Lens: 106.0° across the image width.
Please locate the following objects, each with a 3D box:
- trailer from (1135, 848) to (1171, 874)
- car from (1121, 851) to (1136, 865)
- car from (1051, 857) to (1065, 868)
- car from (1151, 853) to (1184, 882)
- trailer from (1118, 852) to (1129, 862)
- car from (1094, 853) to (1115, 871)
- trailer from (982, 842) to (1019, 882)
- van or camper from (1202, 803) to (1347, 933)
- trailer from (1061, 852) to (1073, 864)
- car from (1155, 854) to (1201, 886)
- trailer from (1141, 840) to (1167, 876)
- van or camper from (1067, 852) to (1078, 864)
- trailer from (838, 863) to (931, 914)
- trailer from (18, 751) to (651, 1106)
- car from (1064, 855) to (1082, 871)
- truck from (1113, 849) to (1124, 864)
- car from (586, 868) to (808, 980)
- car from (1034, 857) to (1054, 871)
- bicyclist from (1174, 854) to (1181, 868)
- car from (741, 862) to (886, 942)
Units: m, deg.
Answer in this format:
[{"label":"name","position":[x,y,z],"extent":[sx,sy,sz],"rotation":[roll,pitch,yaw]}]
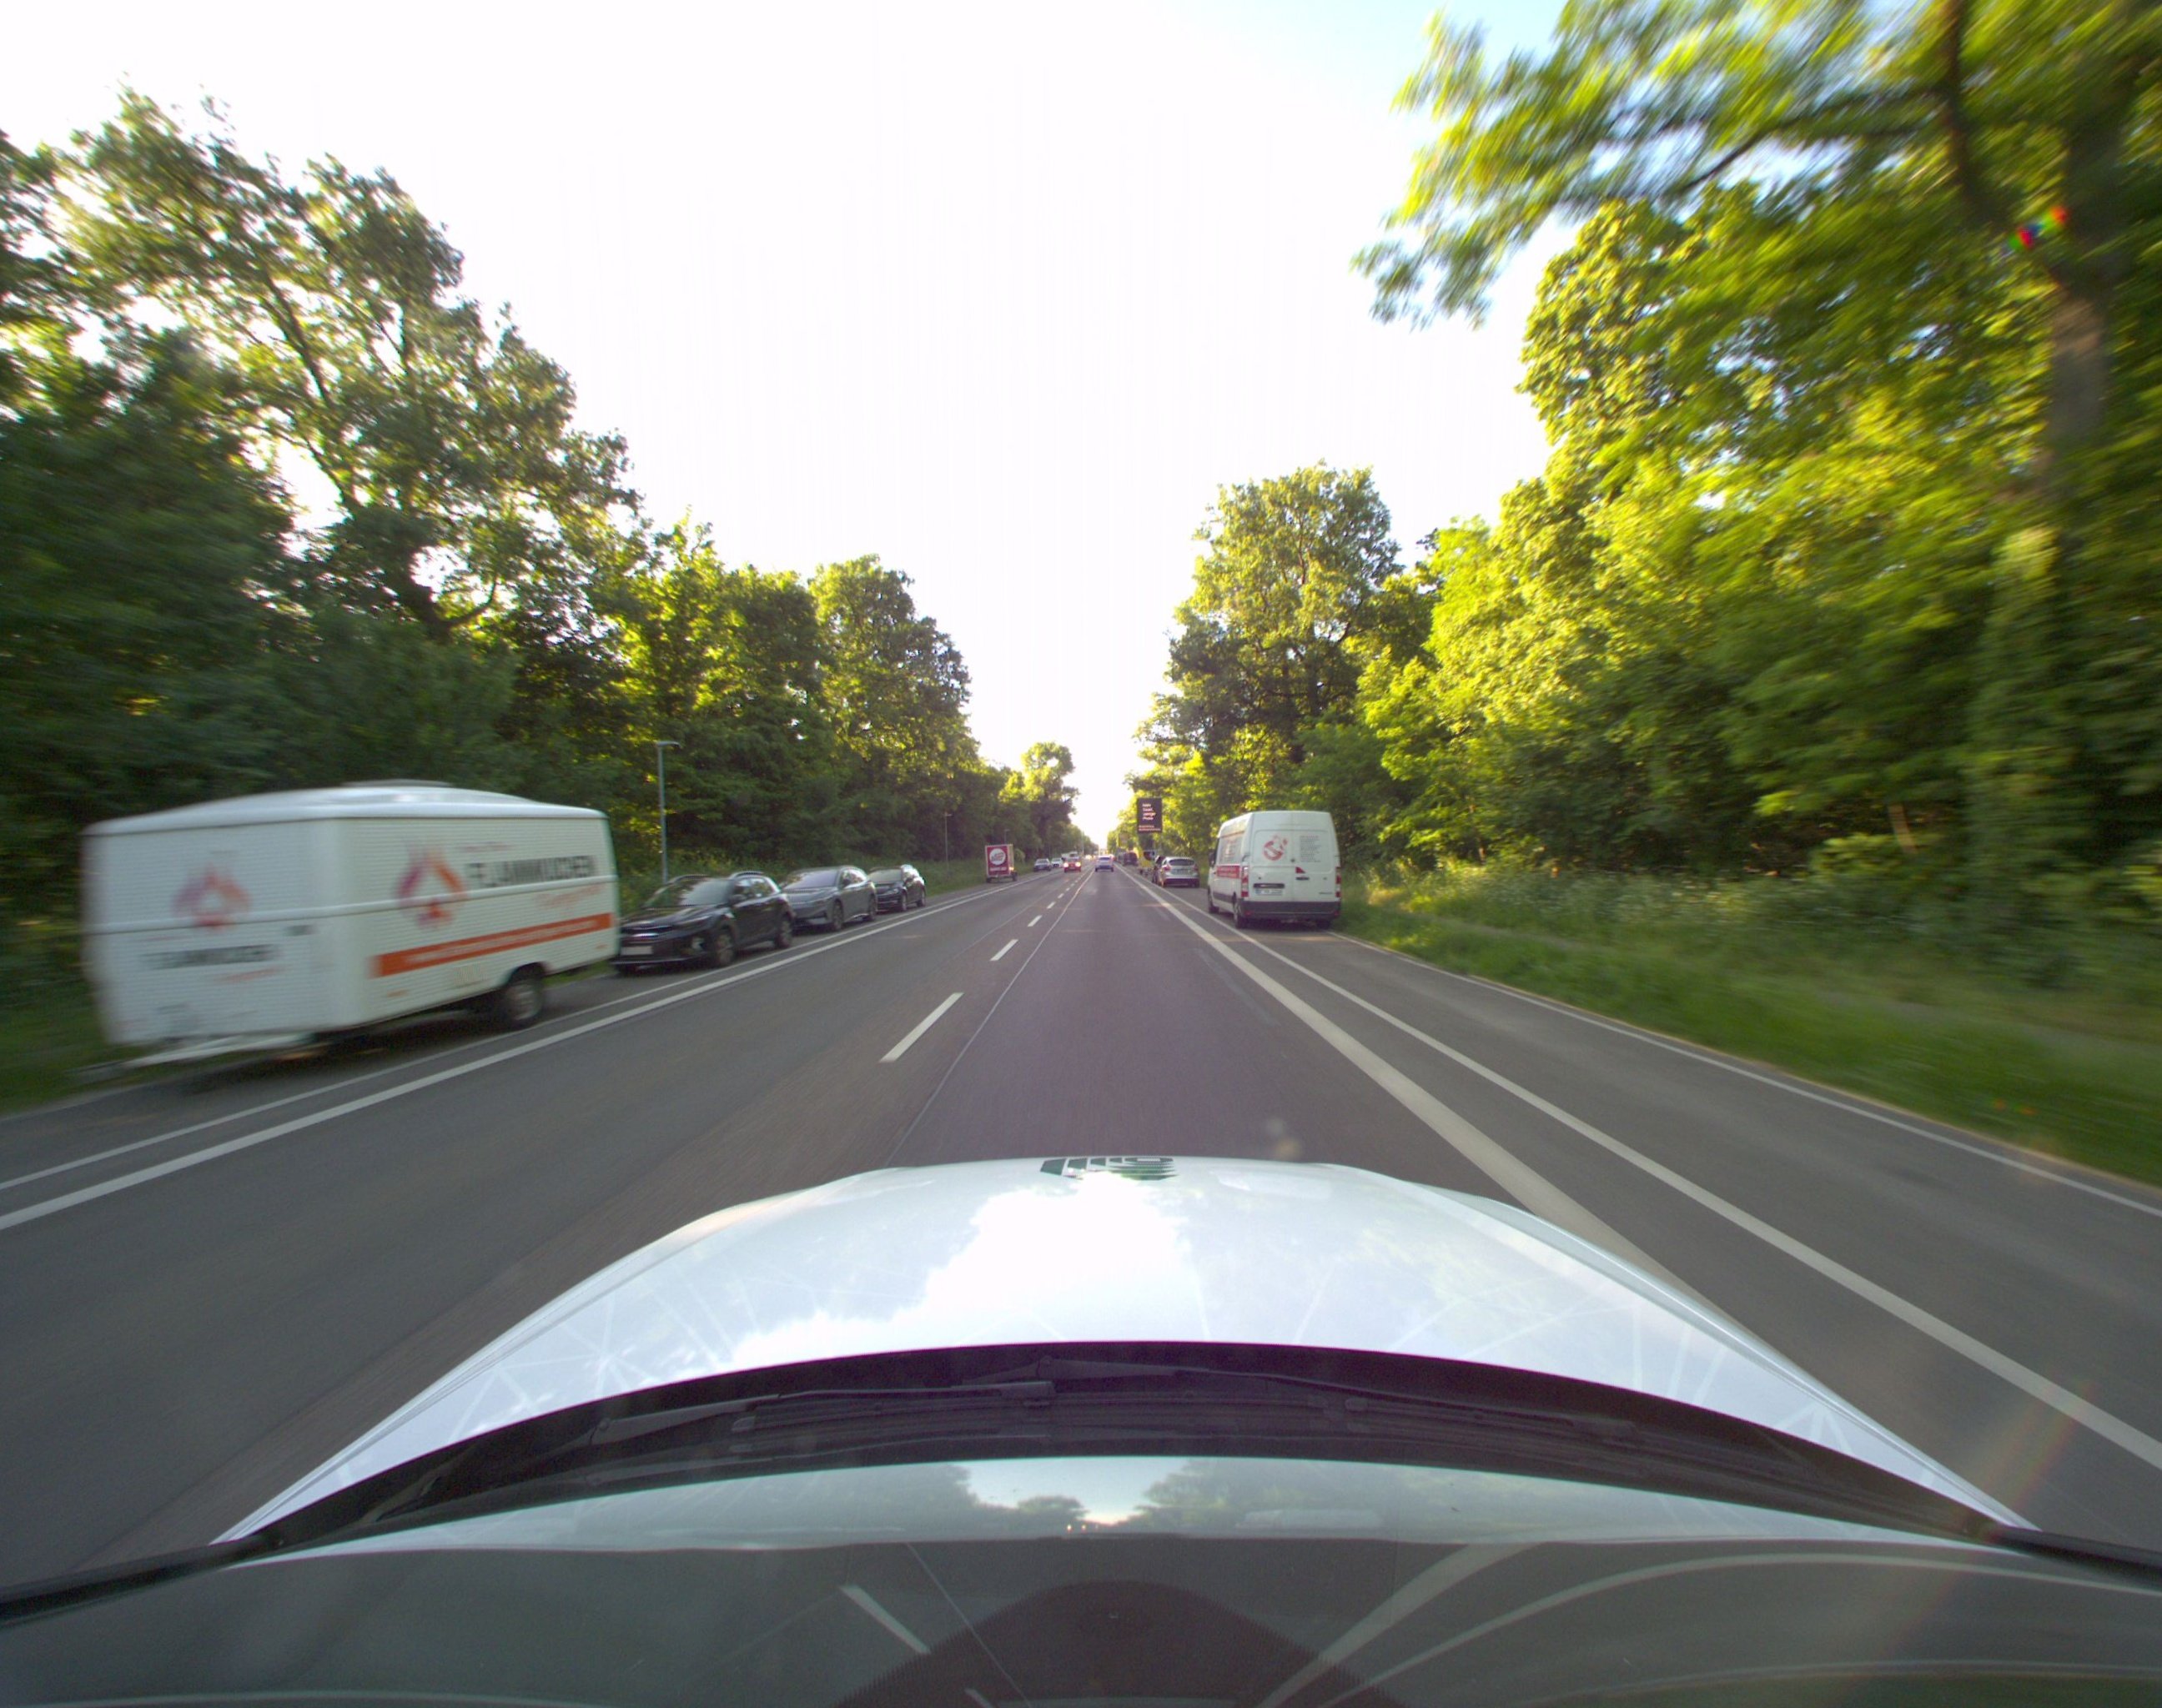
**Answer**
[{"label":"trailer","position":[5.983,0.529,67.568],"extent":[1.945,2.022,3.864],"rotation":[-1,0,21]},{"label":"car","position":[6.832,0.585,117.121],"extent":[2.105,2.013,5.042],"rotation":[0,0,2]},{"label":"car","position":[-3.428,1.233,122.285],"extent":[1.860,1.450,4.072],"rotation":[-4,0,2]},{"label":"car","position":[4.718,0.728,44.912],"extent":[1.580,1.530,3.012],"rotation":[0,0,1]},{"label":"trailer","position":[8.413,0.586,161.385],"extent":[1.600,2.112,2.409],"rotation":[-1,0,22]},{"label":"car","position":[2.287,0.750,79.877],"extent":[1.986,1.640,4.001],"rotation":[-2,0,1]},{"label":"trailer","position":[-5.558,0.523,56.687],"extent":[1.986,2.621,4.087],"rotation":[-2,0,2]},{"label":"van or camper","position":[4.267,0.279,19.159],"extent":[2.117,2.482,6.309],"rotation":[-2,0,3]},{"label":"trailer","position":[-2.729,0.893,163.390],"extent":[2.066,2.293,3.489],"rotation":[-3,0,3]},{"label":"car","position":[4.684,0.740,39.853],"extent":[1.729,1.488,4.401],"rotation":[0,0,0]},{"label":"trailer","position":[5.276,0.268,59.151],"extent":[1.607,2.508,4.001],"rotation":[-1,-1,1]},{"label":"van or camper","position":[-1.965,0.928,194.913],"extent":[2.293,2.768,5.559],"rotation":[-4,0,2]},{"label":"trailer","position":[-6.376,1.072,26.944],"extent":[1.834,1.466,4.467],"rotation":[-1,0,1]},{"label":"trailer","position":[-6.663,0.545,8.204],"extent":[2.340,2.529,4.341],"rotation":[-2,0,-2]},{"label":"car","position":[-0.737,0.900,80.308],"extent":[1.598,1.420,3.519],"rotation":[-3,0,1]},{"label":"truck","position":[8.851,0.611,191.217],"extent":[2.495,3.366,7.111],"rotation":[-1,-1,2]},{"label":"car","position":[-6.435,1.082,14.234],"extent":[1.665,1.495,4.196],"rotation":[-5,-1,2]},{"label":"car","position":[-4.288,1.137,95.259],"extent":[1.848,1.464,4.786],"rotation":[-2,0,2]},{"label":"bicyclist","position":[9.584,0.715,80.763],"extent":[0.608,1.324,1.176],"rotation":[-1,0,2]},{"label":"car","position":[-6.457,1.074,20.344],"extent":[1.665,1.574,5.129],"rotation":[-5,-1,2]}]
